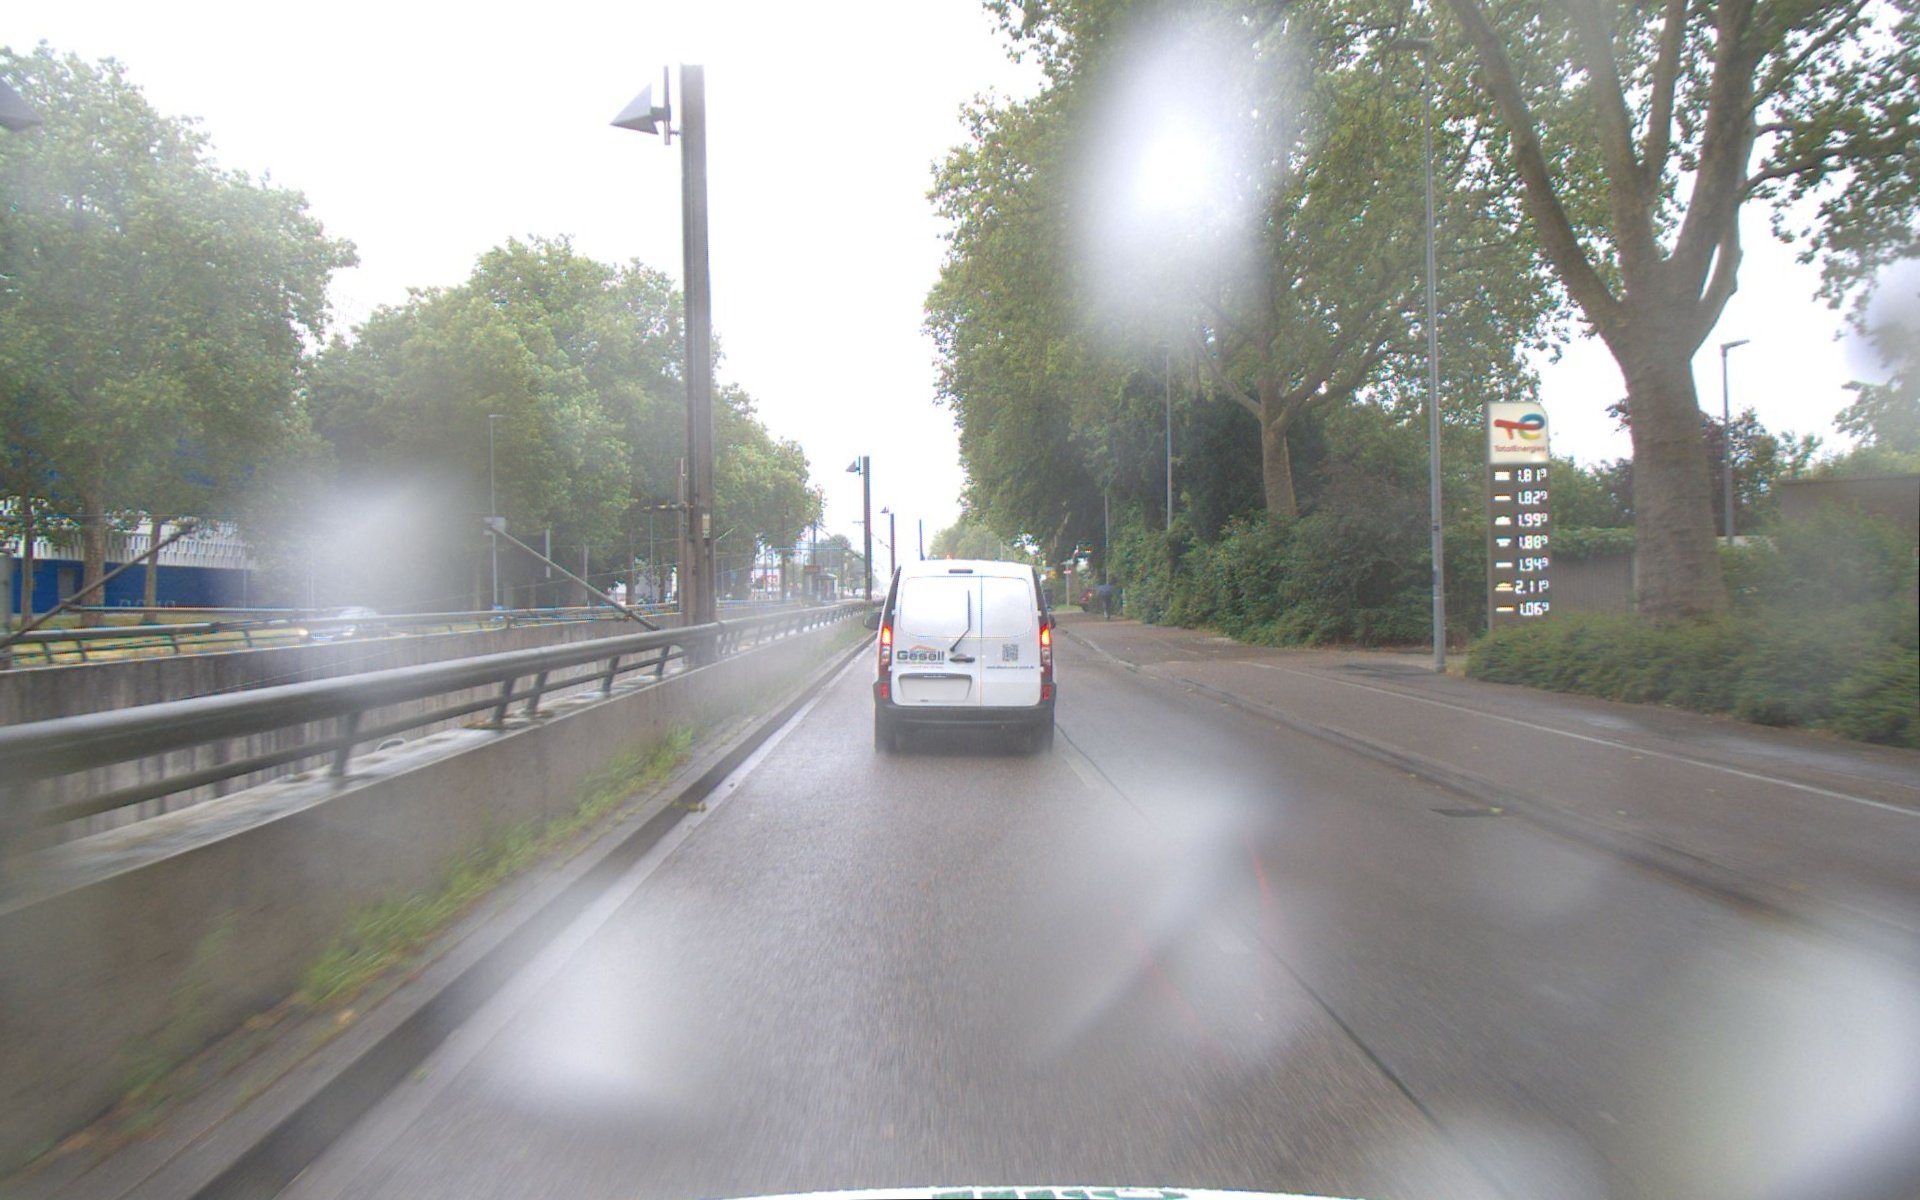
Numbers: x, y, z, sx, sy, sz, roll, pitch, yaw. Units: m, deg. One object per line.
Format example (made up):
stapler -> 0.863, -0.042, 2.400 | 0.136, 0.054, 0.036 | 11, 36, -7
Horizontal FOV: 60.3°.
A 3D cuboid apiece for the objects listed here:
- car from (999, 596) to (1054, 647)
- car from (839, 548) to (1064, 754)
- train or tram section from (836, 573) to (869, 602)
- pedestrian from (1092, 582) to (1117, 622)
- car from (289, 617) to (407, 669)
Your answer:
car -> 2.420, 0.755, 60.636 | 1.952, 1.780, 4.001 | 1, 0, 2
car -> -0.125, 0.449, 16.922 | 1.984, 1.806, 4.273 | 1, 0, -1
train or tram section -> -16.643, -1.871, 257.334 | 3.693, 4.107, 27.088 | 1, 0, -1
pedestrian -> 6.299, 0.093, 72.316 | 0.947, 1.732, 1.141 | 2, 0, 0
car -> -18.488, 1.274, 50.134 | 1.951, 1.428, 3.796 | 0, 0, 4
